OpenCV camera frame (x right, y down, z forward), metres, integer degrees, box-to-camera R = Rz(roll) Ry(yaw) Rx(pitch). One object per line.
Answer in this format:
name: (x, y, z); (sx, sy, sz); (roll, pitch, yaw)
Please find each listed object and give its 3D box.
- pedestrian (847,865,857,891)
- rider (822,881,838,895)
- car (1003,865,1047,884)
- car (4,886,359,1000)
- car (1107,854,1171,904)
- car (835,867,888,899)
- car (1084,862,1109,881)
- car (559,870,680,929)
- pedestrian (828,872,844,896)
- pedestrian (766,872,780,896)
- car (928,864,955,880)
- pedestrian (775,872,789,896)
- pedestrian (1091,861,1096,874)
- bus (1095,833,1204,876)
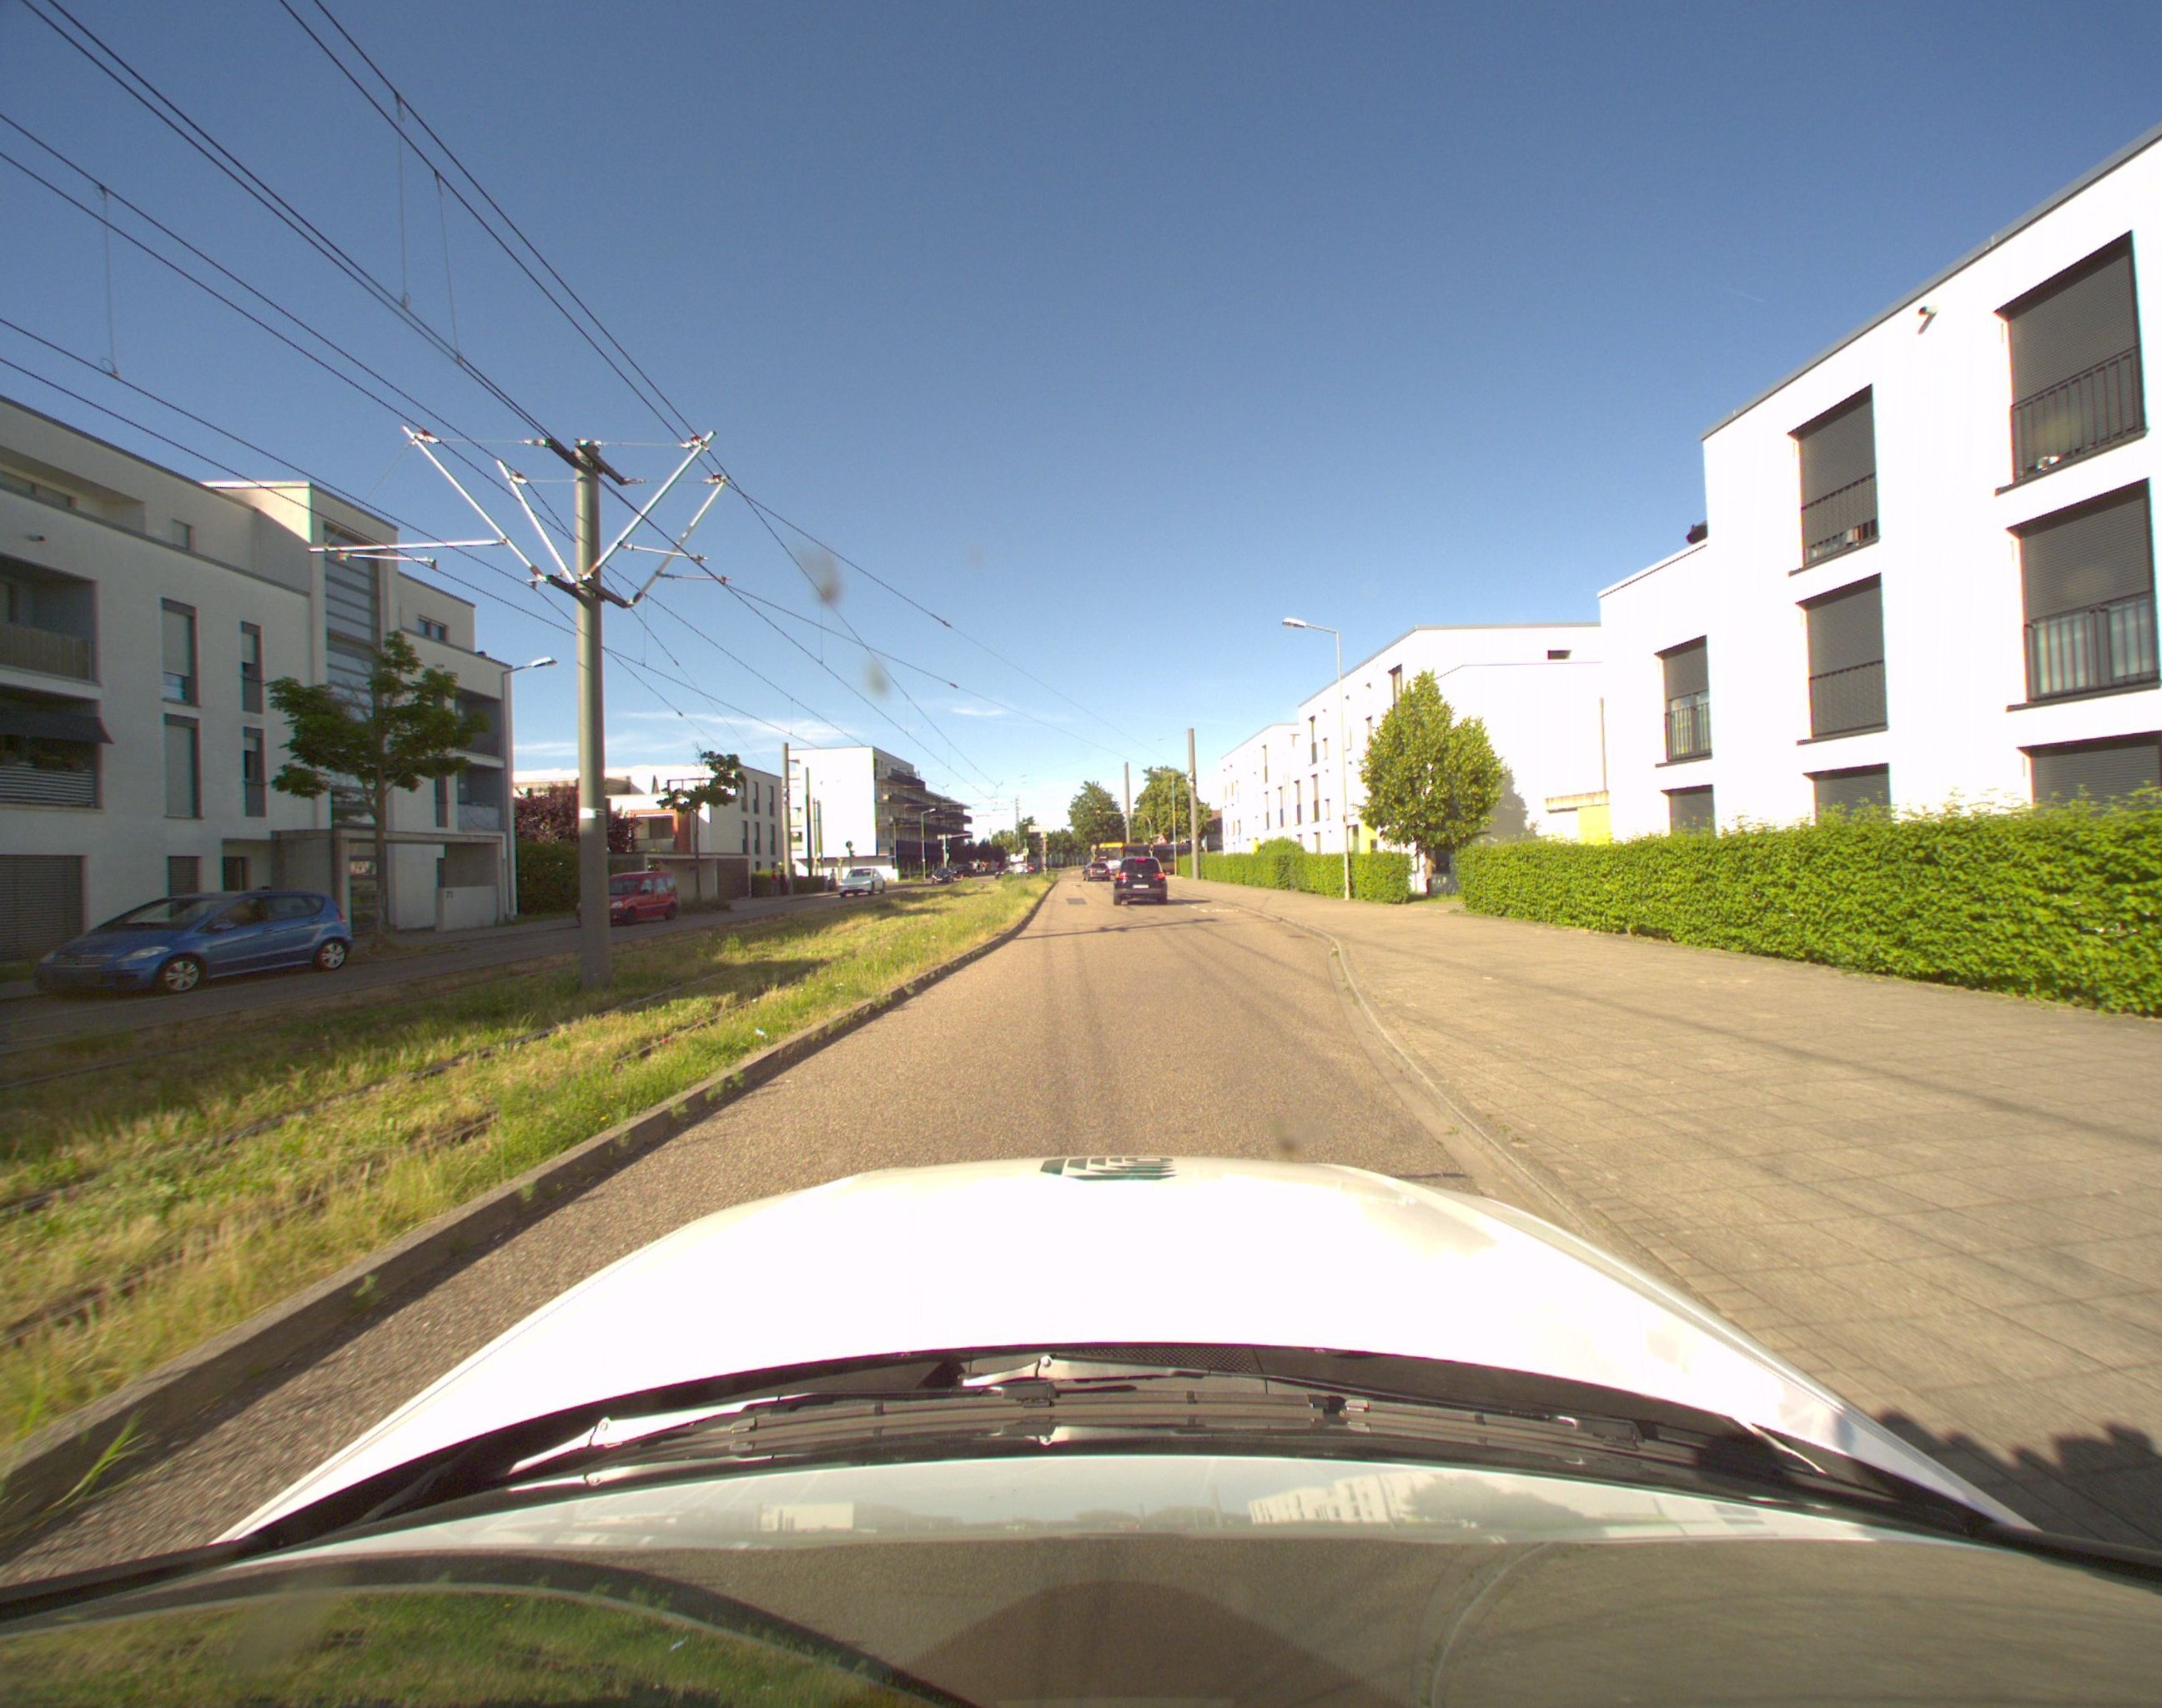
pedestrian: (-17.632, 1.862, 62.742); (0.762, 2.014, 0.666); (0, -1, -14)
rider: (-17.994, 2.434, 58.447); (0.774, 1.003, 1.046); (0, -1, 5)
car: (-4.933, 1.797, 71.337); (3.693, 1.430, 1.719); (-4, 0, 45)
car: (-15.024, 1.394, 13.988); (1.819, 1.537, 3.841); (0, -1, -1)
car: (1.992, 0.851, 28.907); (1.900, 1.643, 3.997); (0, -1, -1)
car: (-12.966, 1.679, 48.384); (1.989, 1.596, 4.642); (-4, 0, -3)
car: (1.157, 1.311, 62.772); (1.746, 1.387, 3.997); (0, -1, -1)
car: (-15.465, 1.483, 27.564); (1.875, 1.796, 3.837); (0, -1, 0)
pedestrian: (-17.896, 2.183, 59.432); (0.812, 1.748, 0.910); (0, -1, 5)
pedestrian: (-18.605, 1.802, 49.156); (0.555, 1.464, 0.743); (0, -1, 1)
car: (-13.418, 1.716, 78.516); (1.782, 1.419, 4.000); (-3, -1, 0)
pedestrian: (-17.986, 1.796, 49.004); (0.555, 1.464, 0.612); (0, -1, 1)
pedestrian: (1.625, 1.675, 102.895); (0.600, 1.640, 0.529); (0, -1, 4)
bus: (6.749, 0.077, 75.783); (2.811, 3.671, 14.776); (-1, -1, 36)
